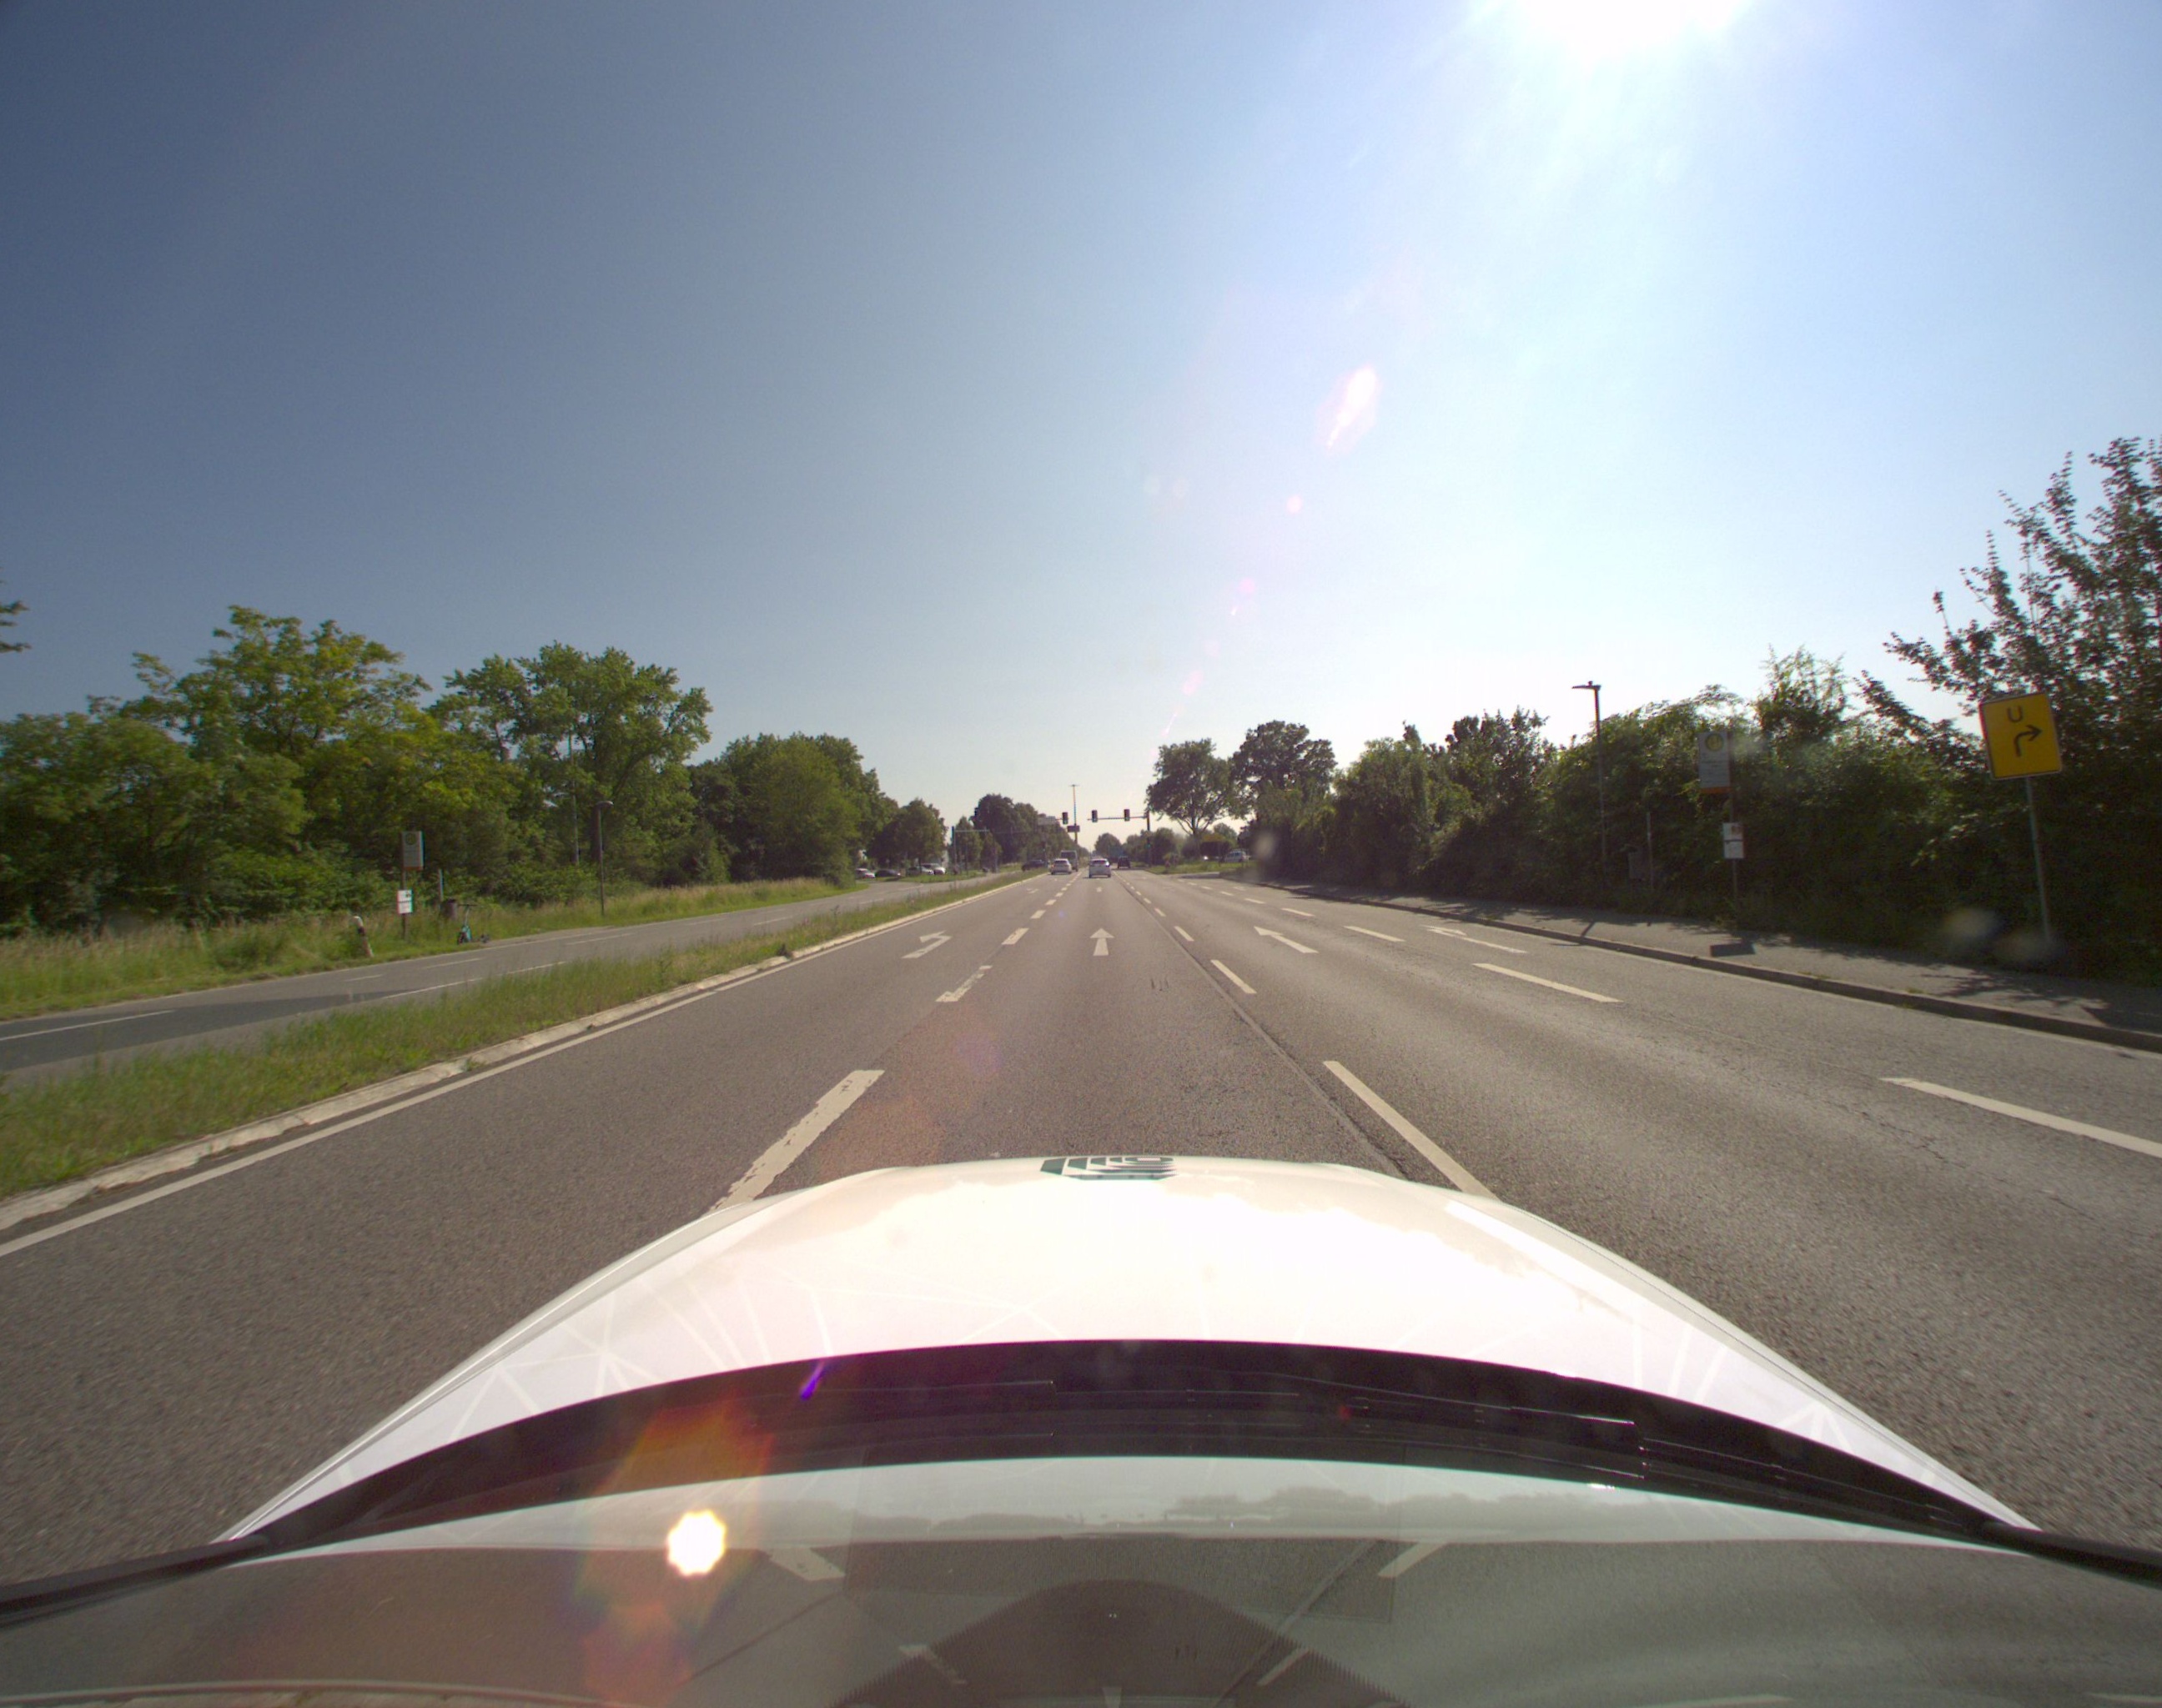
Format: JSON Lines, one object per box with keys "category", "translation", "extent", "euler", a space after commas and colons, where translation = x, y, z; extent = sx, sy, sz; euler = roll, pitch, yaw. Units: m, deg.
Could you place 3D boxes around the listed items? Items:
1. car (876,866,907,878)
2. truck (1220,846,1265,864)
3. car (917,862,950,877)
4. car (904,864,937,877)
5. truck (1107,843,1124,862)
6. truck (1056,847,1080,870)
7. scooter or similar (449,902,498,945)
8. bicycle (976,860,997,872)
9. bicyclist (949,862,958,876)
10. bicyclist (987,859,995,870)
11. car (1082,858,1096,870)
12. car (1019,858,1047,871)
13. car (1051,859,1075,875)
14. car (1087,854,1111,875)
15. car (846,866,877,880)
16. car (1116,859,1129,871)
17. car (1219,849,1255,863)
{"category": "car", "translation": [-27.275, 2.585, 117.356], "extent": [4.212, 1.606, 2.018], "euler": [-3, 0, 36]}
{"category": "truck", "translation": [22.060, 0.171, 111.673], "extent": [2.353, 2.386, 6.409], "euler": [1, -2, -32]}
{"category": "car", "translation": [-21.286, 2.211, 117.235], "extent": [4.595, 1.950, 2.013], "euler": [-3, -1, 36]}
{"category": "car", "translation": [-22.451, 2.341, 113.827], "extent": [4.212, 1.606, 2.018], "euler": [-3, 0, 36]}
{"category": "truck", "translation": [6.655, -0.313, 158.461], "extent": [2.881, 3.428, 9.171], "euler": [-2, 0, 1]}
{"category": "truck", "translation": [-1.437, 0.522, 90.974], "extent": [2.365, 2.389, 6.041], "euler": [-3, 0, 1]}
{"category": "scooter or similar", "translation": [-18.334, 2.080, 24.593], "extent": [0.367, 1.186, 1.341], "euler": [-4, -1, 1]}
{"category": "bicycle", "translation": [-14.053, 1.731, 120.889], "extent": [2.765, 1.670, 1.143], "euler": [-3, 0, 28]}
{"category": "bicyclist", "translation": [-14.176, 1.673, 90.467], "extent": [0.842, 1.517, 0.748], "euler": [-2, 0, 6]}
{"category": "bicyclist", "translation": [-13.383, 1.598, 120.638], "extent": [0.854, 1.618, 0.763], "euler": [-2, -1, 29]}
{"category": "car", "translation": [1.013, 1.245, 100.930], "extent": [1.566, 1.414, 3.278], "euler": [-3, 0, 1]}
{"category": "car", "translation": [-6.405, 1.392, 108.525], "extent": [1.923, 1.649, 3.955], "euler": [-1, -1, -37]}
{"category": "car", "translation": [-1.684, 1.216, 78.094], "extent": [1.804, 1.464, 4.976], "euler": [-2, -1, 4]}
{"category": "car", "translation": [1.409, 0.769, 63.358], "extent": [1.792, 1.552, 4.002], "euler": [-1, 0, 2]}
{"category": "car", "translation": [-32.757, 2.830, 121.400], "extent": [4.448, 1.801, 2.018], "euler": [-3, 0, 36]}
{"category": "car", "translation": [5.128, 1.353, 101.326], "extent": [1.566, 1.414, 3.278], "euler": [-2, -1, 1]}
{"category": "car", "translation": [18.253, 0.193, 95.264], "extent": [3.709, 1.469, 1.796], "euler": [-2, -1, 25]}
